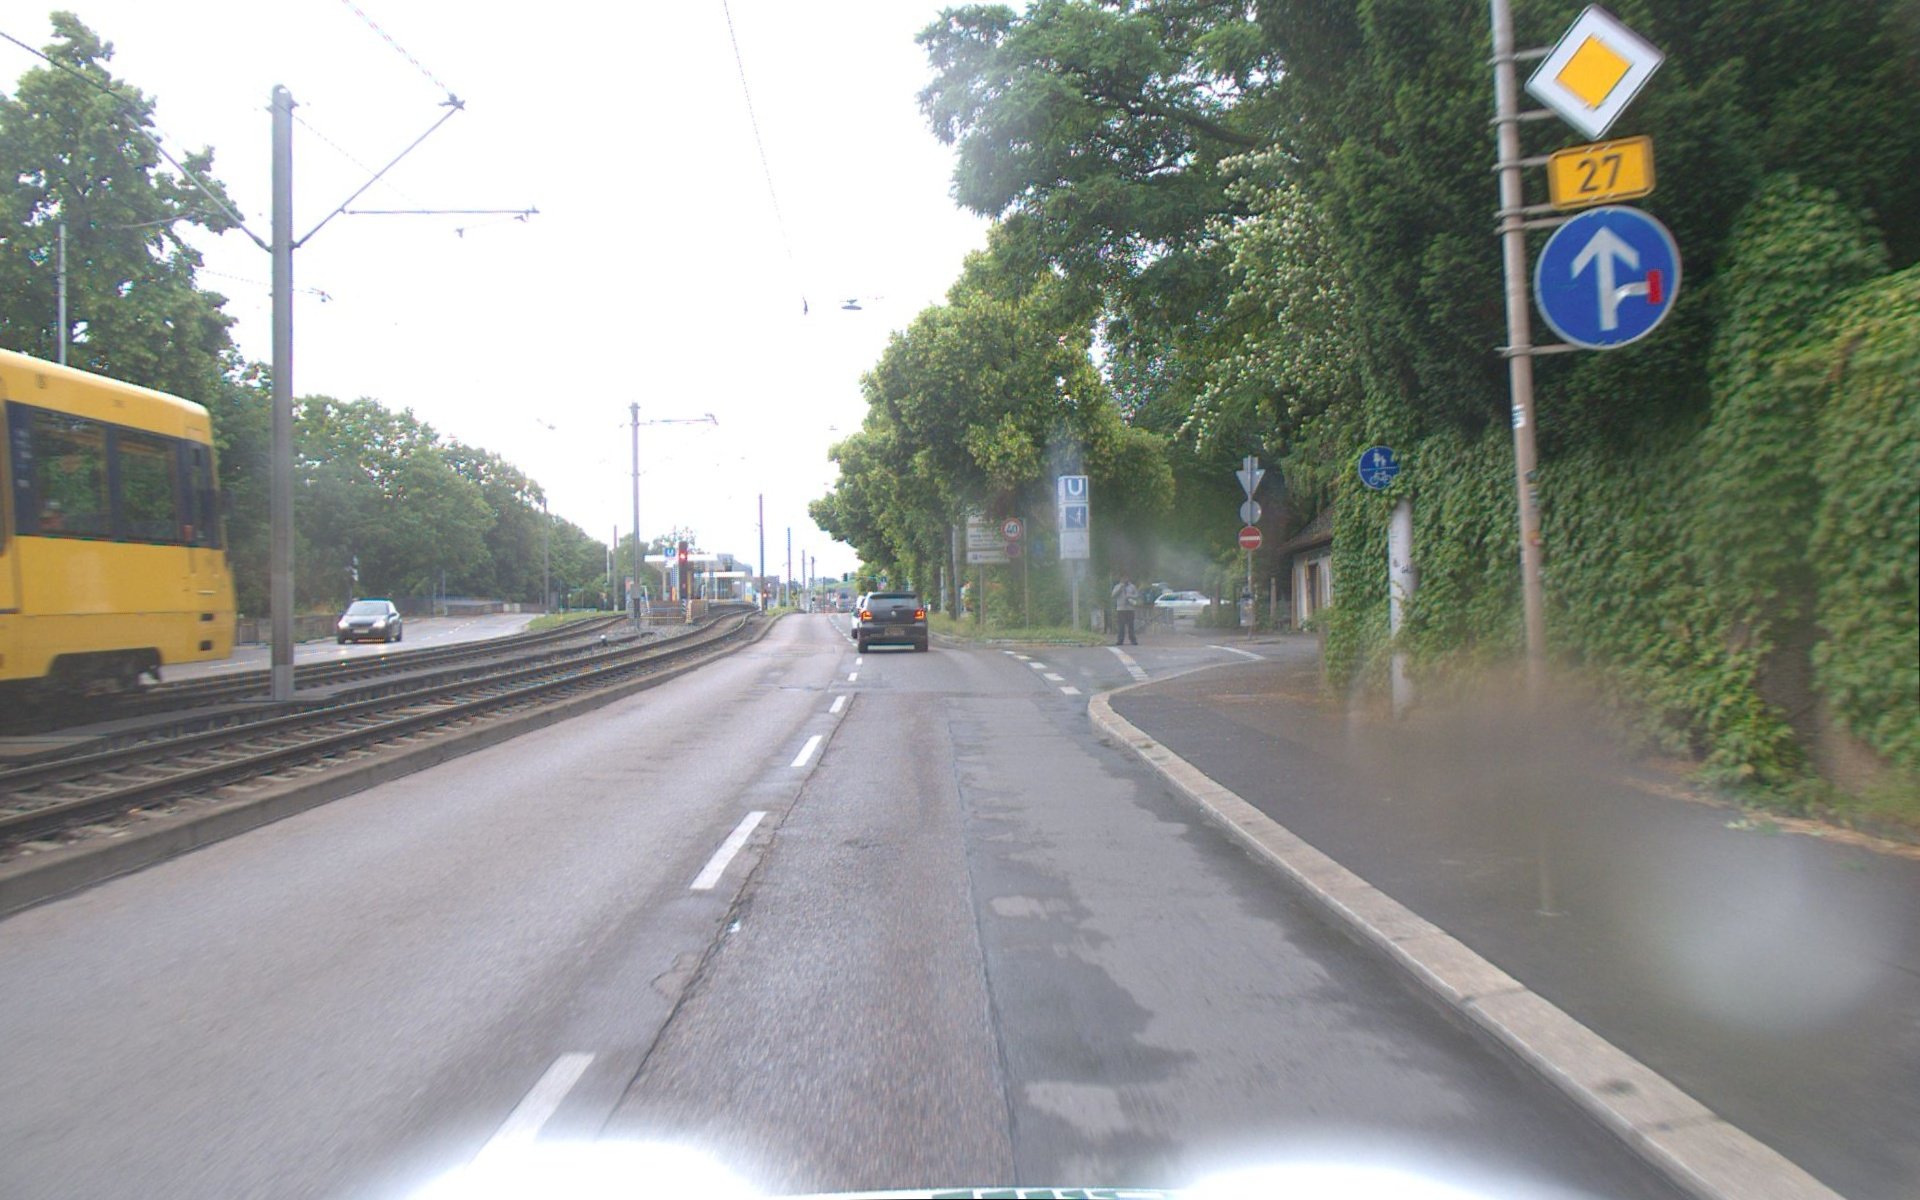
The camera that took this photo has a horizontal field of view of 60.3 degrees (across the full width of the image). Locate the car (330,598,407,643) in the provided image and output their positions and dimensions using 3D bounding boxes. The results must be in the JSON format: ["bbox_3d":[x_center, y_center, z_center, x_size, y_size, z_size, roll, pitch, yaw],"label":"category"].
[{"bbox_3d":[-20.699,0.702,58.027,1.931,1.466,4.309,-2,0,-12],"label":"car"}]

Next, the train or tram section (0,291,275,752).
[{"bbox_3d":[-9.690,-0.653,11.829,2.771,4.045,17.868,-1,0,-2],"label":"train or tram section"}]

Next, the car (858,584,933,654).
[{"bbox_3d":[-1.569,0.413,39.942,1.692,1.567,3.998,-1,0,-3],"label":"car"}]

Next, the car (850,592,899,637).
[{"bbox_3d":[-3.161,0.512,60.627,1.654,1.544,3.996,-1,0,-5],"label":"car"}]

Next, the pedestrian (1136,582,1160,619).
[{"bbox_3d":[10.425,0.039,91.568,0.949,2.049,0.942,0,0,-28],"label":"pedestrian"}]

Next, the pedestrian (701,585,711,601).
[{"bbox_3d":[-19.608,-0.557,127.786,0.696,1.247,0.619,0,0,-4],"label":"pedestrian"}]

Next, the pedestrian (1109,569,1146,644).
[{"bbox_3d":[4.273,0.166,42.274,0.837,1.886,0.737,0,0,-1],"label":"pedestrian"}]

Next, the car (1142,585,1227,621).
[{"bbox_3d":[12.421,0.166,91.770,1.932,1.866,4.394,1,0,-45],"label":"car"}]

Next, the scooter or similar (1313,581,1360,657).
[{"bbox_3d":[6.459,0.318,28.446,0.503,1.252,1.315,-4,0,4],"label":"scooter or similar"}]
